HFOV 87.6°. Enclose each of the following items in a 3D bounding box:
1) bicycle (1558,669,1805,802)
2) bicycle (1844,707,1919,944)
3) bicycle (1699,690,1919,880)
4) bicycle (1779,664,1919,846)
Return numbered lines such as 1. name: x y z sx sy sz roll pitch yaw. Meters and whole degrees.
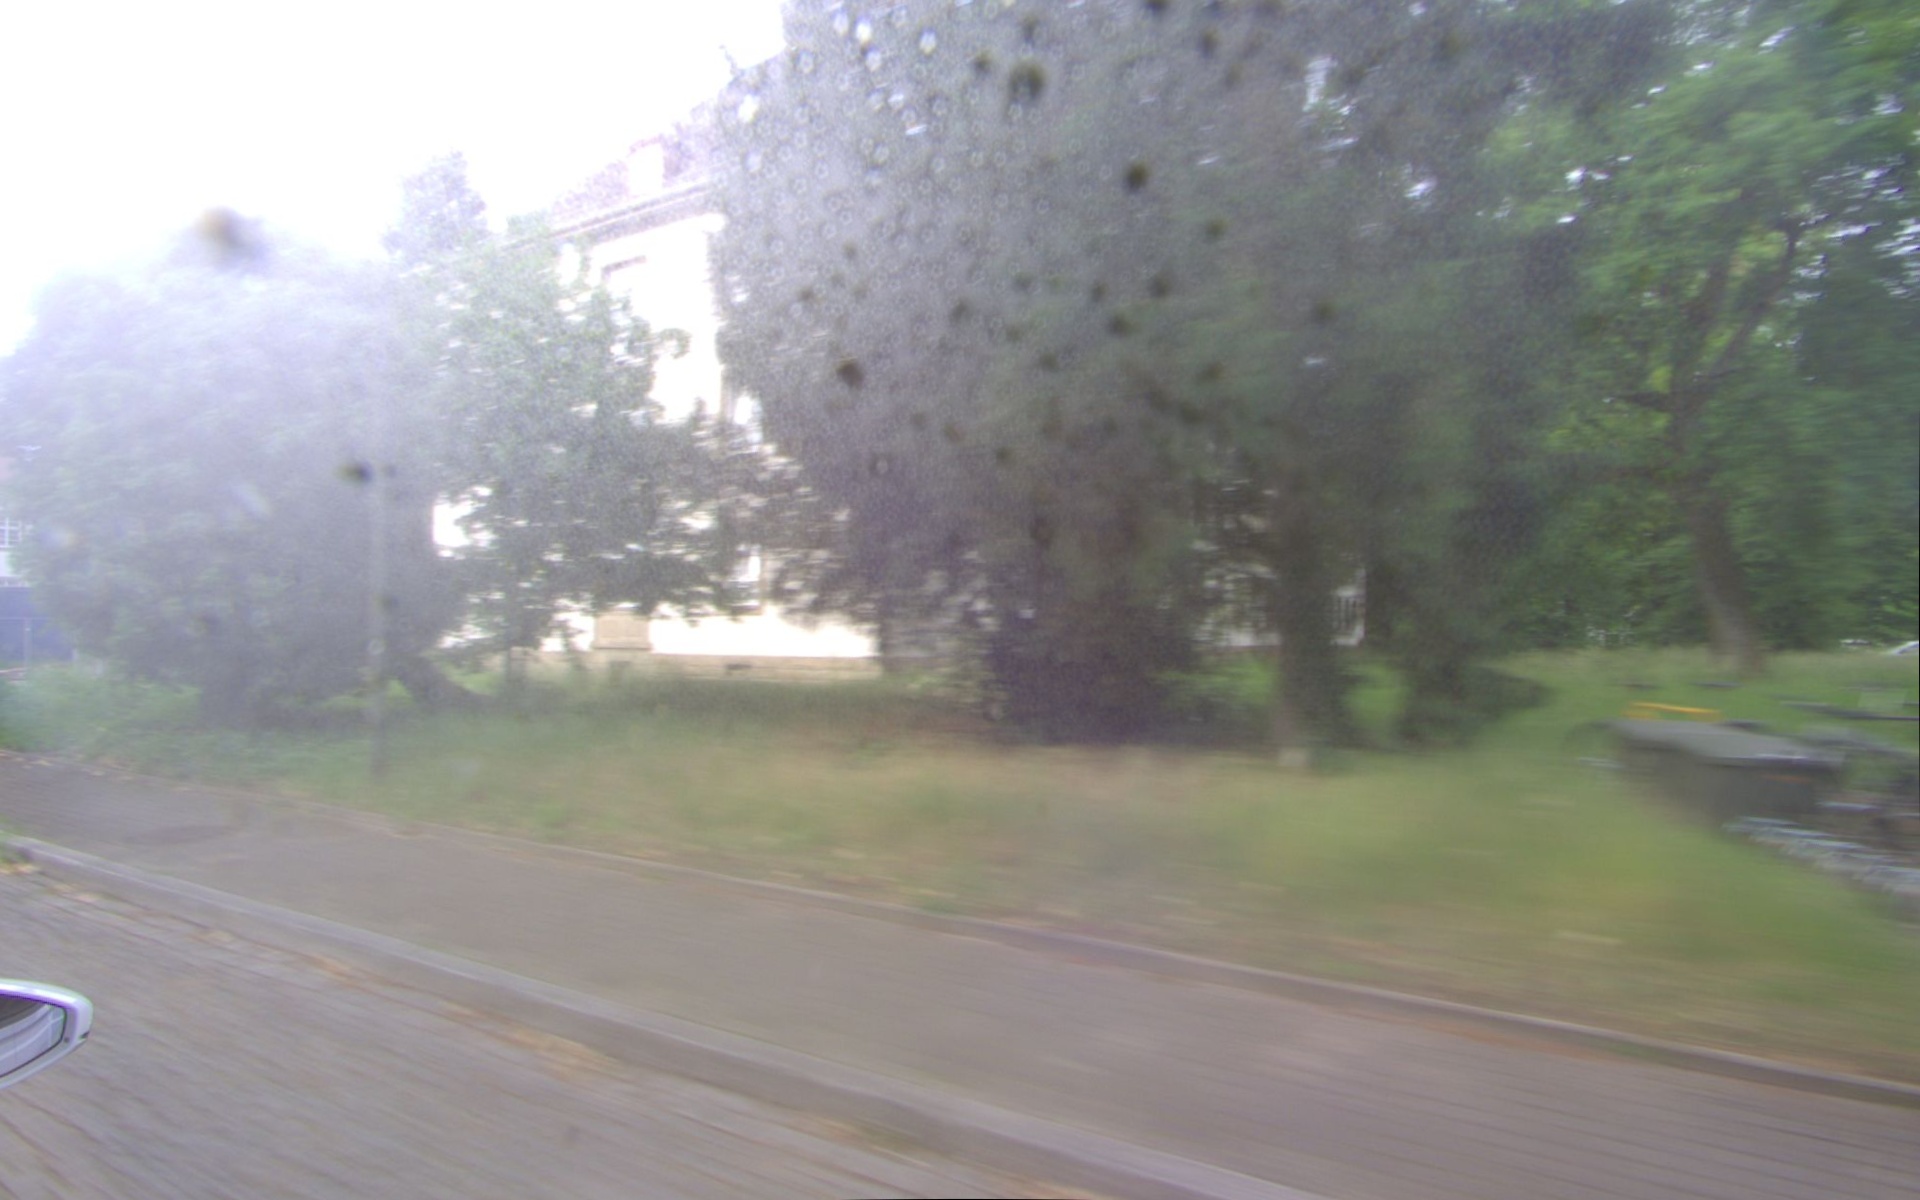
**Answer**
1. bicycle: 6.251 1.153 8.765 1.653 1.055 0.551 0 -1 17
2. bicycle: 5.404 1.083 4.750 1.790 1.078 0.618 0 -1 5
3. bicycle: 5.653 1.118 6.176 1.720 1.078 0.552 0 -1 5
4. bicycle: 6.729 1.048 6.791 1.724 1.186 0.550 0 -1 23
